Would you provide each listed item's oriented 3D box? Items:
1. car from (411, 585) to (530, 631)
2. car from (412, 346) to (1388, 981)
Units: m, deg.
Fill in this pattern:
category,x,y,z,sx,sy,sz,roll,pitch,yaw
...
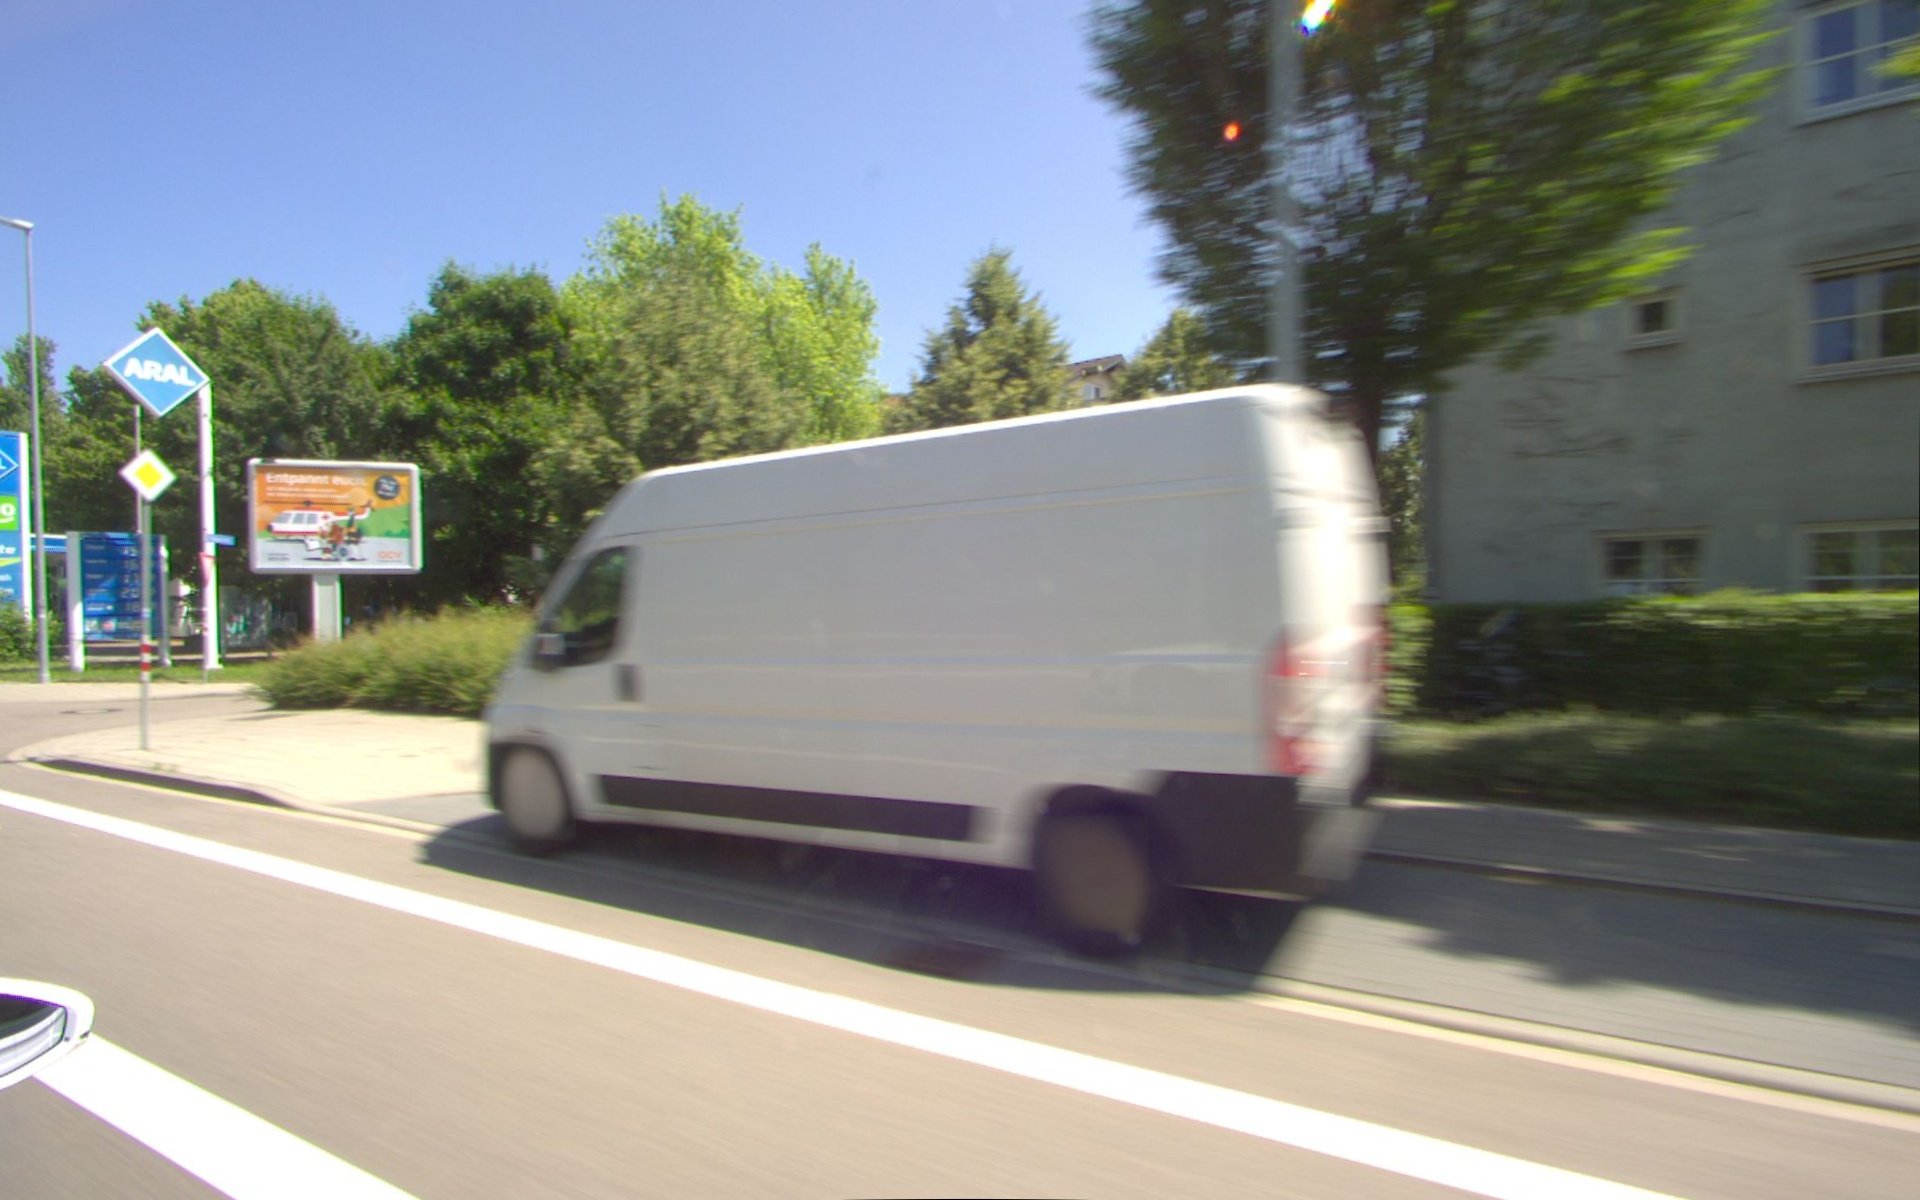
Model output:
category,x,y,z,sx,sy,sz,roll,pitch,yaw
car,-18.514,0.312,37.874,4.254,1.653,1.754,-1,2,26
car,-0.679,0.267,6.307,6.018,2.490,1.997,-1,2,30
